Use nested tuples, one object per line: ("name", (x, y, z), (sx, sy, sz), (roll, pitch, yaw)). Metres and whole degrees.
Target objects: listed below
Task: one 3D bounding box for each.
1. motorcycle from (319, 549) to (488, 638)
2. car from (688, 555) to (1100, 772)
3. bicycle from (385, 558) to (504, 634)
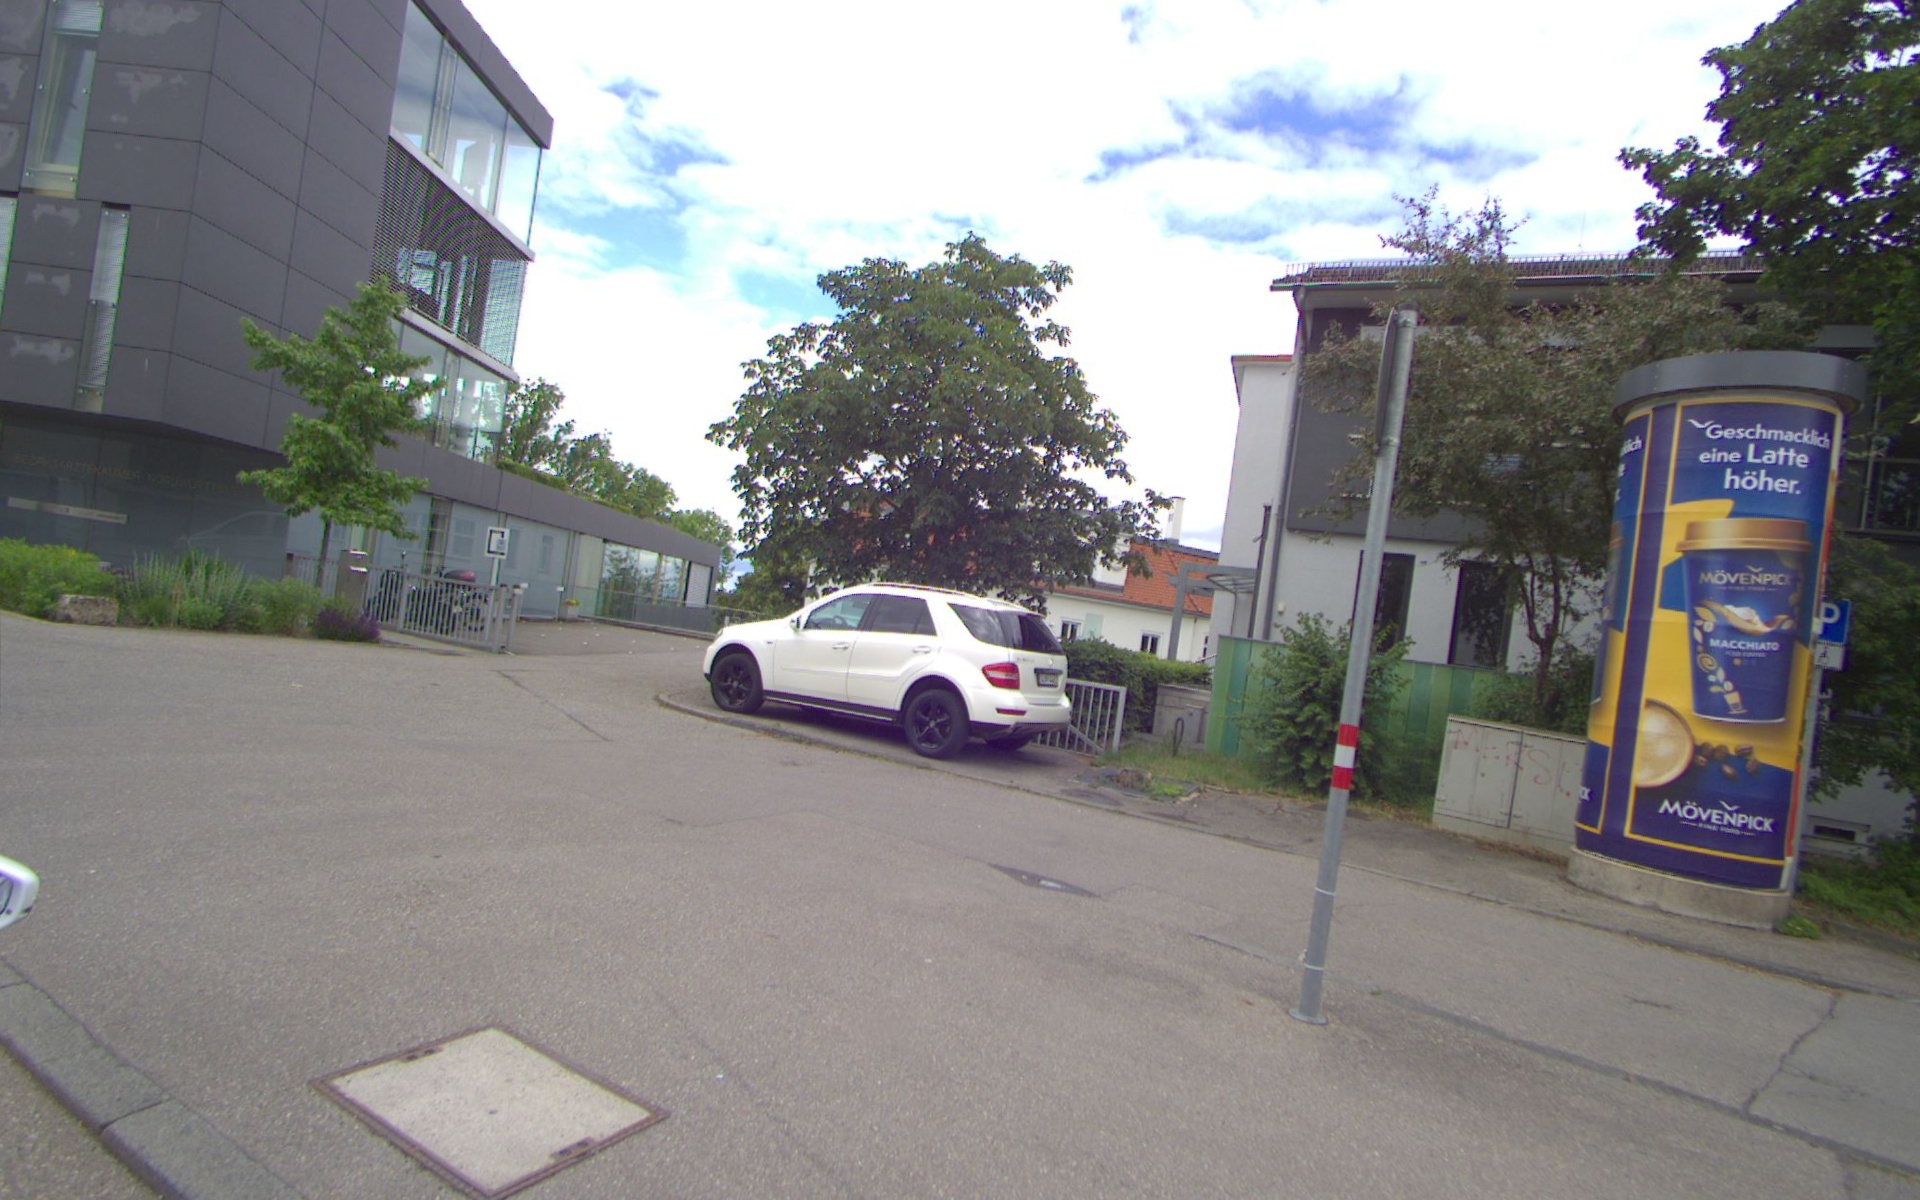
("motorcycle", (-10.491, -0.113, 19.016), (2.644, 1.275, 0.849), (8, -1, 4))
("car", (-0.854, 0.659, 12.087), (4.441, 1.860, 1.996), (6, 0, 30))
("bicycle", (-10.711, -0.079, 20.930), (2.063, 1.275, 0.616), (8, 0, 4))
